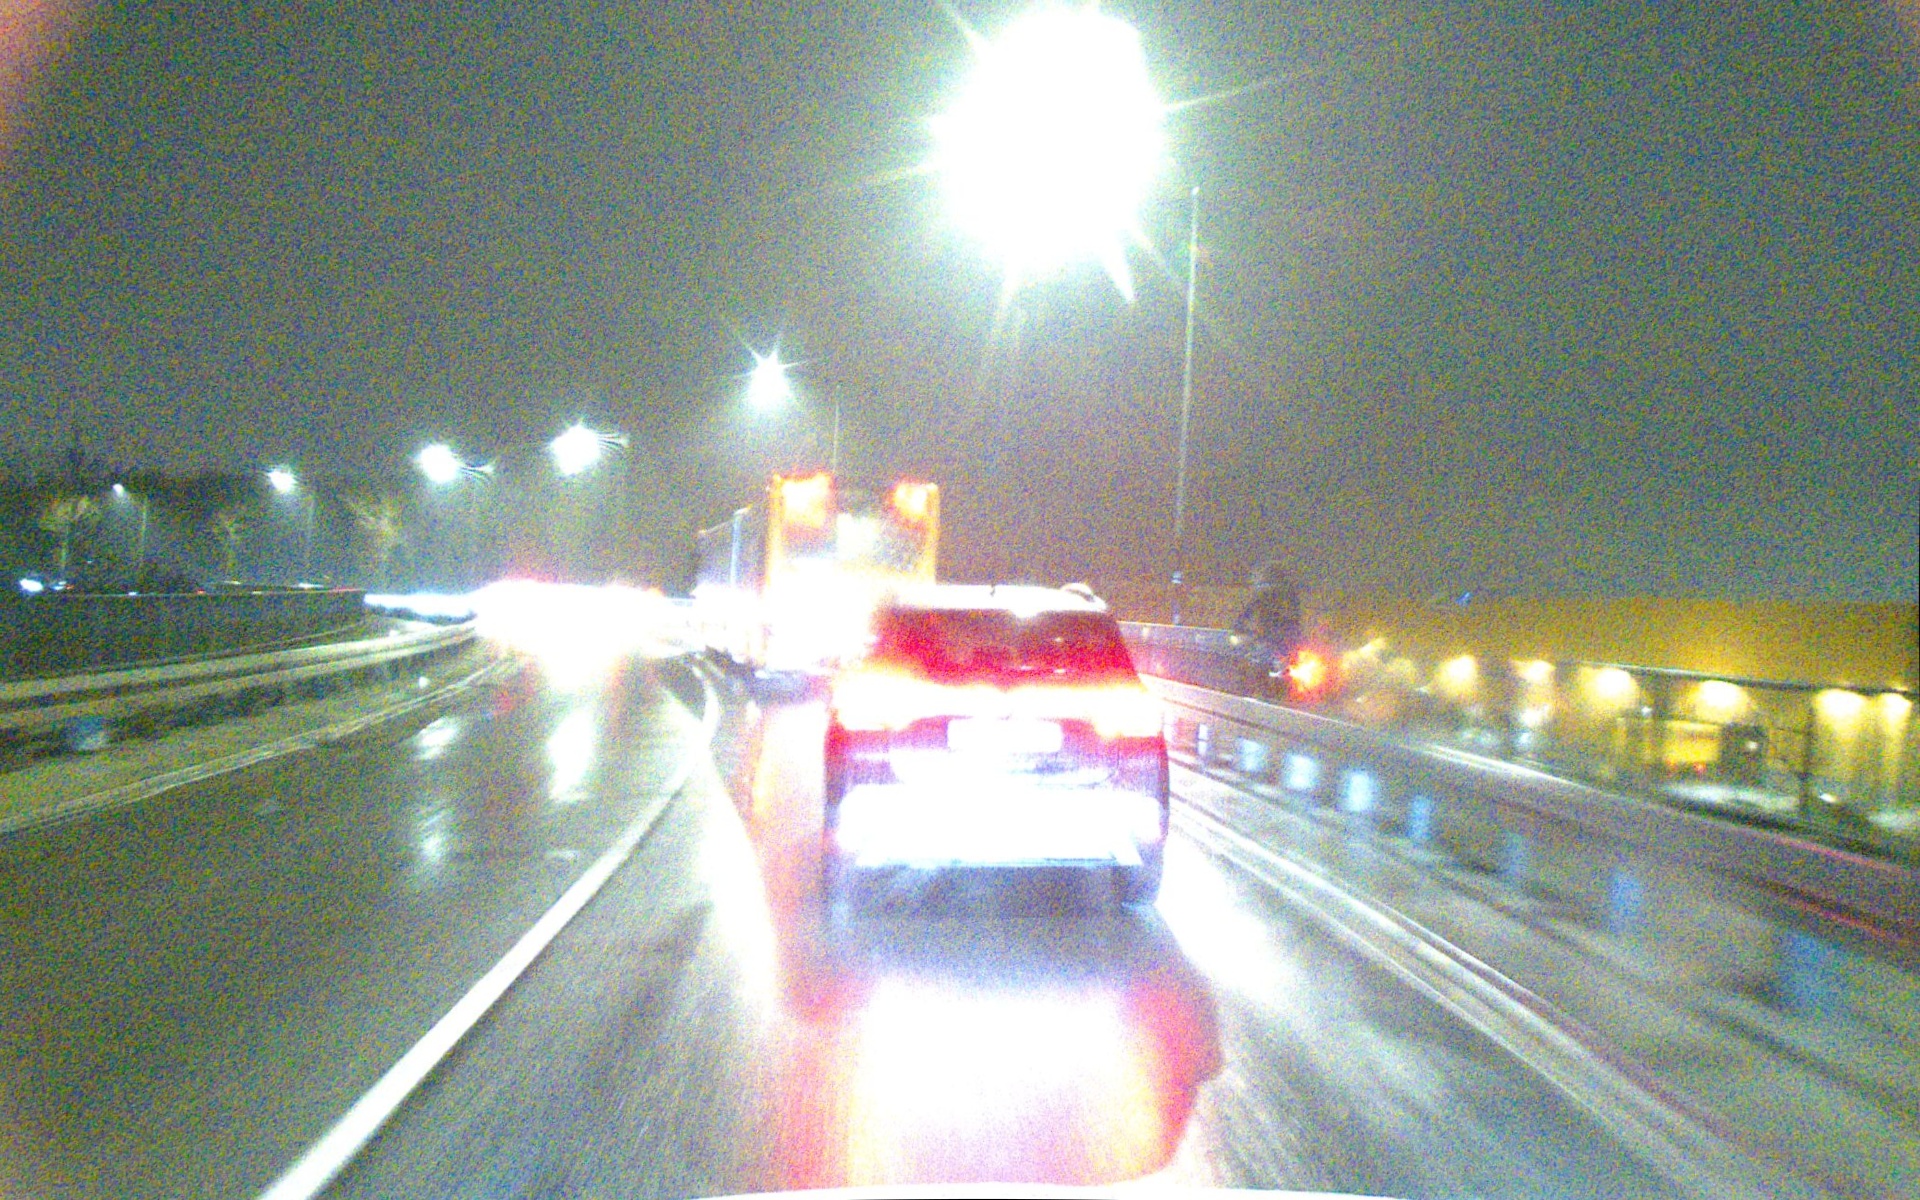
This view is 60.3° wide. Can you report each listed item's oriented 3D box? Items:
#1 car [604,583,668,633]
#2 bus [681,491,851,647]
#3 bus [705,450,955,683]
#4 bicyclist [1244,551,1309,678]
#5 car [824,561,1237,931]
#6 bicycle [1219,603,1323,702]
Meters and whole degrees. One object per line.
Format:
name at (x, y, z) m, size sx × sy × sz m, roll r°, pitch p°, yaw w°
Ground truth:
car at (-11.547, 0.304, 58.774) m, size 1.613 × 1.685 × 3.685 m, roll 1°, pitch -2°, yaw -21°
bus at (-4.785, -0.688, 39.229) m, size 2.996 × 3.186 × 8.051 m, roll 3°, pitch 0°, yaw -13°
bus at (-2.740, -0.511, 29.193) m, size 3.028 × 3.187 × 12.663 m, roll 0°, pitch 0°, yaw -11°
bicyclist at (3.520, 0.158, 18.406) m, size 0.444 × 1.373 × 0.763 m, roll 2°, pitch 0°, yaw -9°
car at (0.289, 0.659, 9.353) m, size 1.818 × 1.614 × 3.999 m, roll 1°, pitch 0°, yaw -1°
bicycle at (3.482, 0.564, 18.702) m, size 0.475 × 1.052 × 2.168 m, roll 1°, pitch 0°, yaw -8°
